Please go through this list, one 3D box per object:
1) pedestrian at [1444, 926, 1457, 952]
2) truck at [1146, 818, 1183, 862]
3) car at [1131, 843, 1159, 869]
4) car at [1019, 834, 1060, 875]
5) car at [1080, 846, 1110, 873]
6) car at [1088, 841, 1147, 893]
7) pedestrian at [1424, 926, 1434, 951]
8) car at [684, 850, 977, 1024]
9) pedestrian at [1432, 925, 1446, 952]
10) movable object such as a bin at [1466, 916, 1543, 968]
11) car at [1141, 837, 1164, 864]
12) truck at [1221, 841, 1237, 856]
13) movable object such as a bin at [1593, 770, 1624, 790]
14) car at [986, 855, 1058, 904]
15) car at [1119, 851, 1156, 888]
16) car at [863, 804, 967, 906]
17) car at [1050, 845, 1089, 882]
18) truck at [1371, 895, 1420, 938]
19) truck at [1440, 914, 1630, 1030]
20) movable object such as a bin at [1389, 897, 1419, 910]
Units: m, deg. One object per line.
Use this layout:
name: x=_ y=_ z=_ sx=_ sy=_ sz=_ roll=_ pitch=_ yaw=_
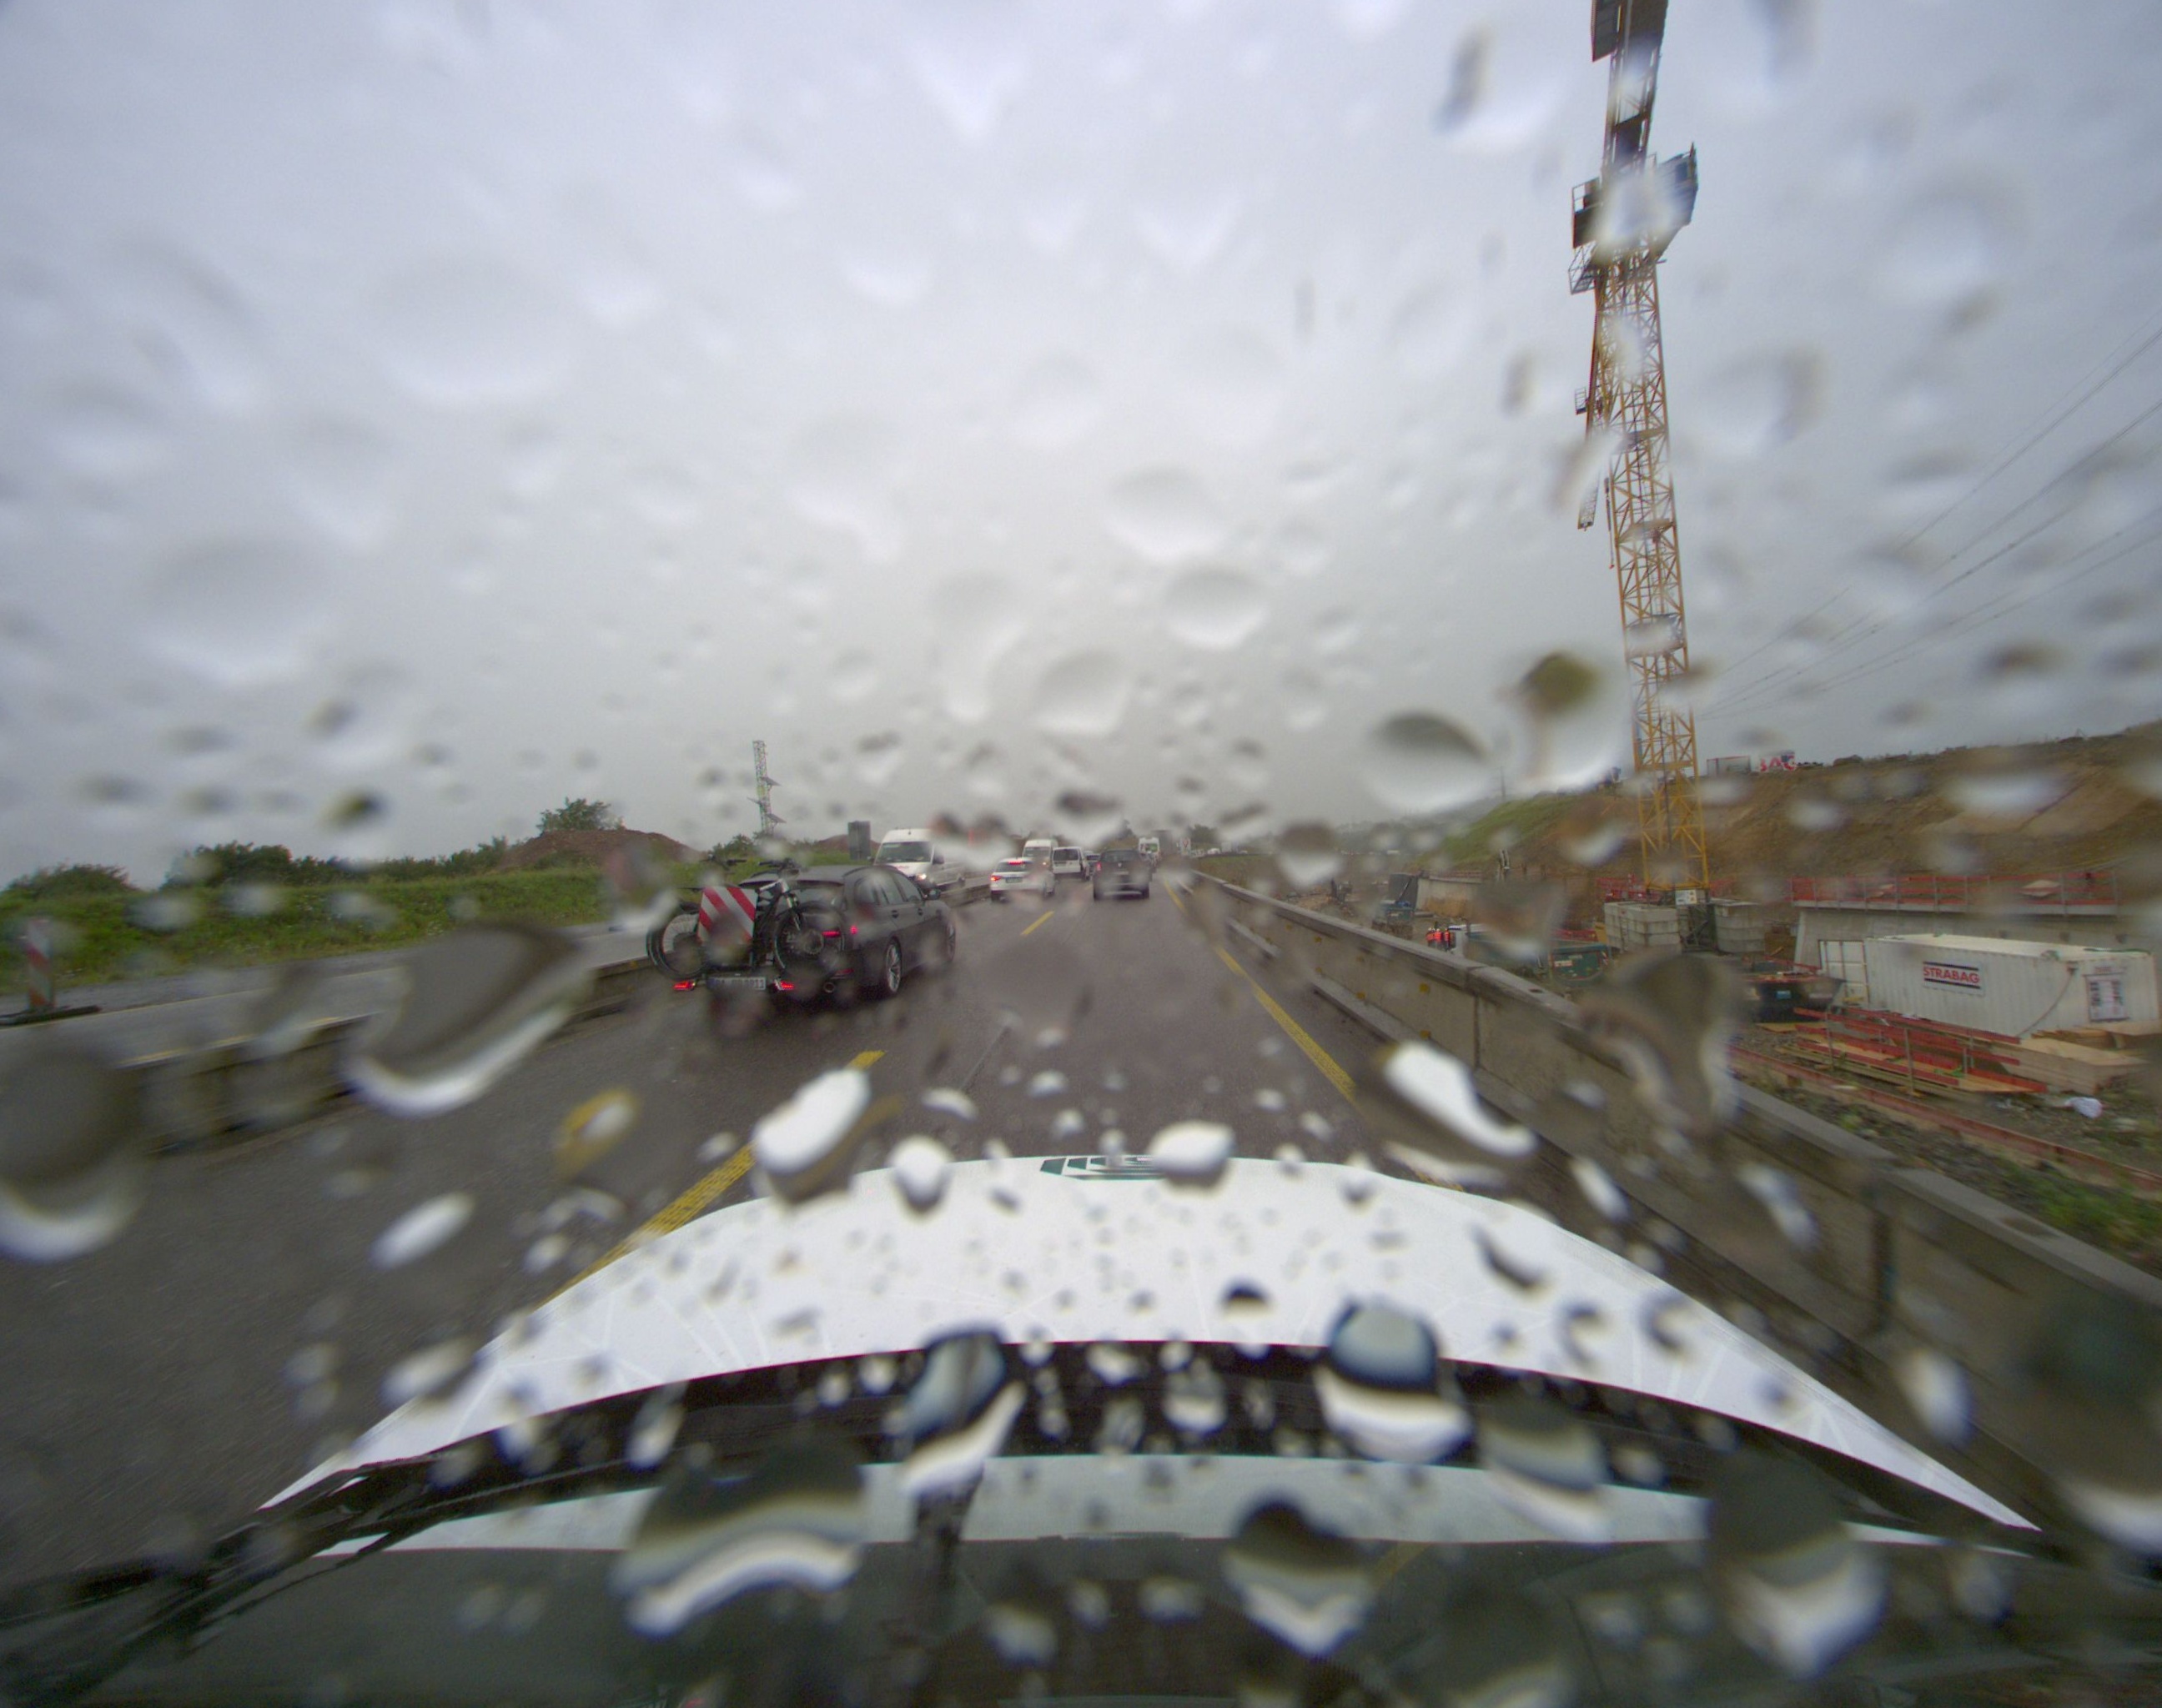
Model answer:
pedestrian: x=28.252 y=6.486 z=62.226 sx=0.726 sy=1.944 sz=0.579 roll=-2 pitch=-1 yaw=44
truck: x=10.284 y=-1.577 z=99.185 sx=3.521 sy=5.077 sz=10.472 roll=-1 pitch=-1 yaw=11
car: x=4.692 y=0.183 z=59.393 sx=1.816 sy=1.815 sz=4.008 roll=-1 pitch=-1 yaw=7
car: x=-2.764 y=-0.010 z=55.267 sx=2.015 sy=2.548 sz=5.964 roll=-2 pitch=0 yaw=3
car: x=1.026 y=0.393 z=57.831 sx=1.817 sy=1.815 sz=4.006 roll=-1 pitch=-1 yaw=6
car: x=1.300 y=0.431 z=27.423 sx=1.818 sy=1.591 sz=4.005 roll=-1 pitch=-1 yaw=5
pedestrian: x=27.180 y=6.617 z=63.633 sx=0.569 sy=1.869 sz=0.738 roll=-1 pitch=-1 yaw=12
car: x=-2.694 y=0.764 z=10.405 sx=1.728 sy=1.462 sz=5.634 roll=-1 pitch=1 yaw=3
pedestrian: x=27.603 y=6.502 z=62.746 sx=0.576 sy=1.944 sz=0.730 roll=-1 pitch=-1 yaw=-22
movable object such as a bin: x=24.838 y=5.141 z=47.883 sx=3.134 sy=2.738 sz=2.973 roll=-1 pitch=-1 yaw=6
car: x=6.738 y=-0.323 z=76.539 sx=1.815 sy=2.437 sz=4.169 roll=-1 pitch=-1 yaw=9
truck: x=40.032 y=-1.521 z=220.008 sx=3.445 sy=3.715 sz=8.454 roll=-2 pitch=0 yaw=16
movable object such as a bin: x=72.953 y=-10.146 z=112.618 sx=2.412 sy=2.443 sz=3.984 roll=-1 pitch=1 yaw=14
car: x=-1.911 y=0.829 z=27.548 sx=1.818 sy=1.499 sz=4.004 roll=-1 pitch=-1 yaw=4
car: x=2.964 y=0.781 z=42.549 sx=1.818 sy=1.815 sz=4.005 roll=-1 pitch=-1 yaw=5
car: x=-5.351 y=0.026 z=27.153 sx=1.985 sy=3.013 sz=5.783 roll=-1 pitch=0 yaw=3
car: x=-0.550 y=0.504 z=42.519 sx=1.819 sy=1.815 sz=4.002 roll=-1 pitch=-1 yaw=2
truck: x=30.330 y=5.953 z=78.883 sx=2.712 sy=3.491 sz=9.091 roll=-1 pitch=-1 yaw=11
truck: x=18.051 y=4.488 z=33.307 sx=2.691 sy=3.503 sz=8.944 roll=-1 pitch=-1 yaw=0
movable object such as a bin: x=49.940 y=7.678 z=125.919 sx=2.006 sy=2.014 sz=3.803 roll=2 pitch=-4 yaw=-30
